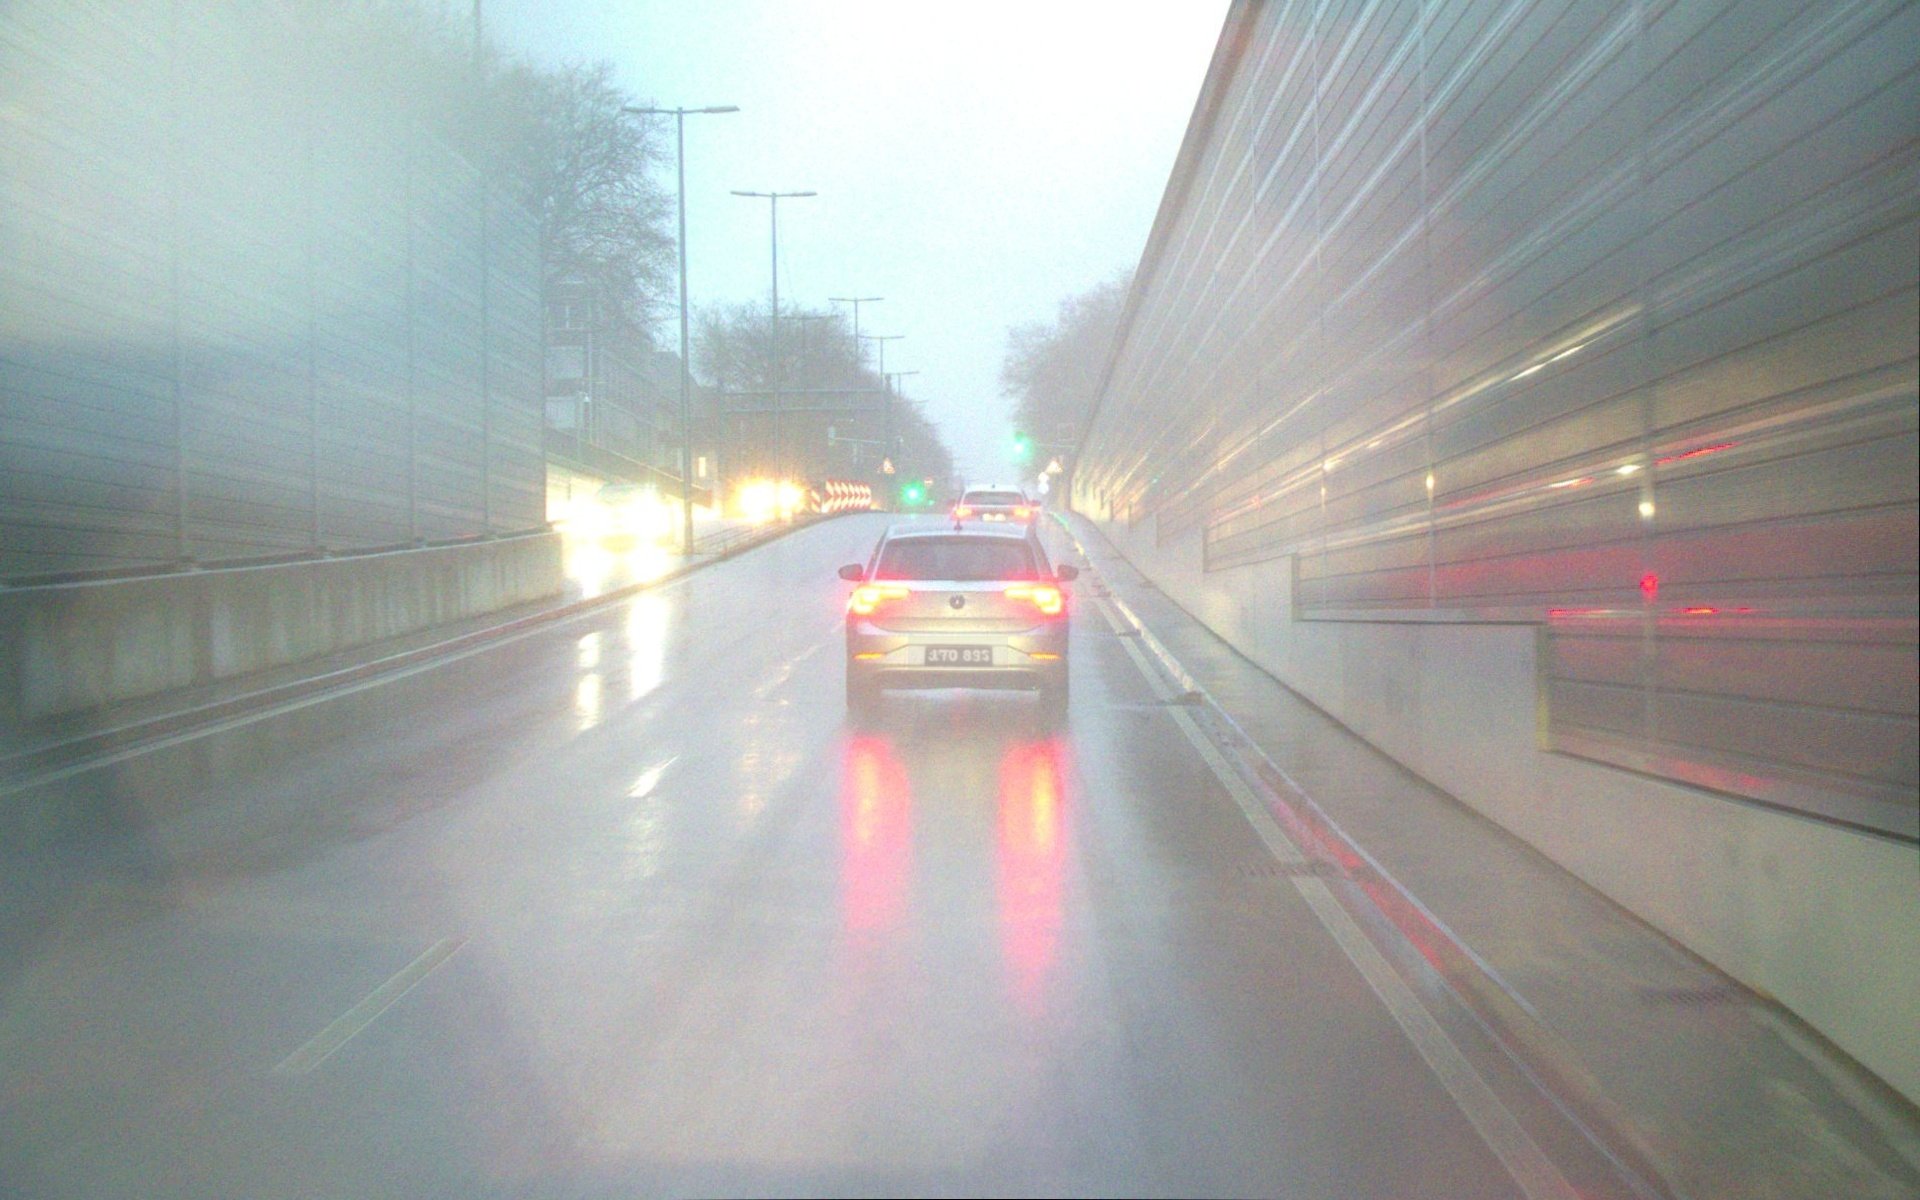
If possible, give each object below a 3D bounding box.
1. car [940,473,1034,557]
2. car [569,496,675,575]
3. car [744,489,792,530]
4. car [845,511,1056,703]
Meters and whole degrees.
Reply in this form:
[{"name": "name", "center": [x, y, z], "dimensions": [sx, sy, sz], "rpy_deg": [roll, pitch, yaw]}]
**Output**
[{"name": "car", "center": [0.556, -1.799, 74.104], "dimensions": [1.880, 1.615, 4.000], "rpy_deg": [2, -1, -1]}, {"name": "car", "center": [-7.658, -1.438, 78.216], "dimensions": [1.880, 1.615, 4.000], "rpy_deg": [2, -1, 1]}, {"name": "car", "center": [-7.241, -3.421, 129.678], "dimensions": [1.571, 1.465, 3.687], "rpy_deg": [0, 3, 0]}, {"name": "car", "center": [-0.047, 0.039, 27.489], "dimensions": [1.532, 1.392, 3.434], "rpy_deg": [2, 0, 1]}]
